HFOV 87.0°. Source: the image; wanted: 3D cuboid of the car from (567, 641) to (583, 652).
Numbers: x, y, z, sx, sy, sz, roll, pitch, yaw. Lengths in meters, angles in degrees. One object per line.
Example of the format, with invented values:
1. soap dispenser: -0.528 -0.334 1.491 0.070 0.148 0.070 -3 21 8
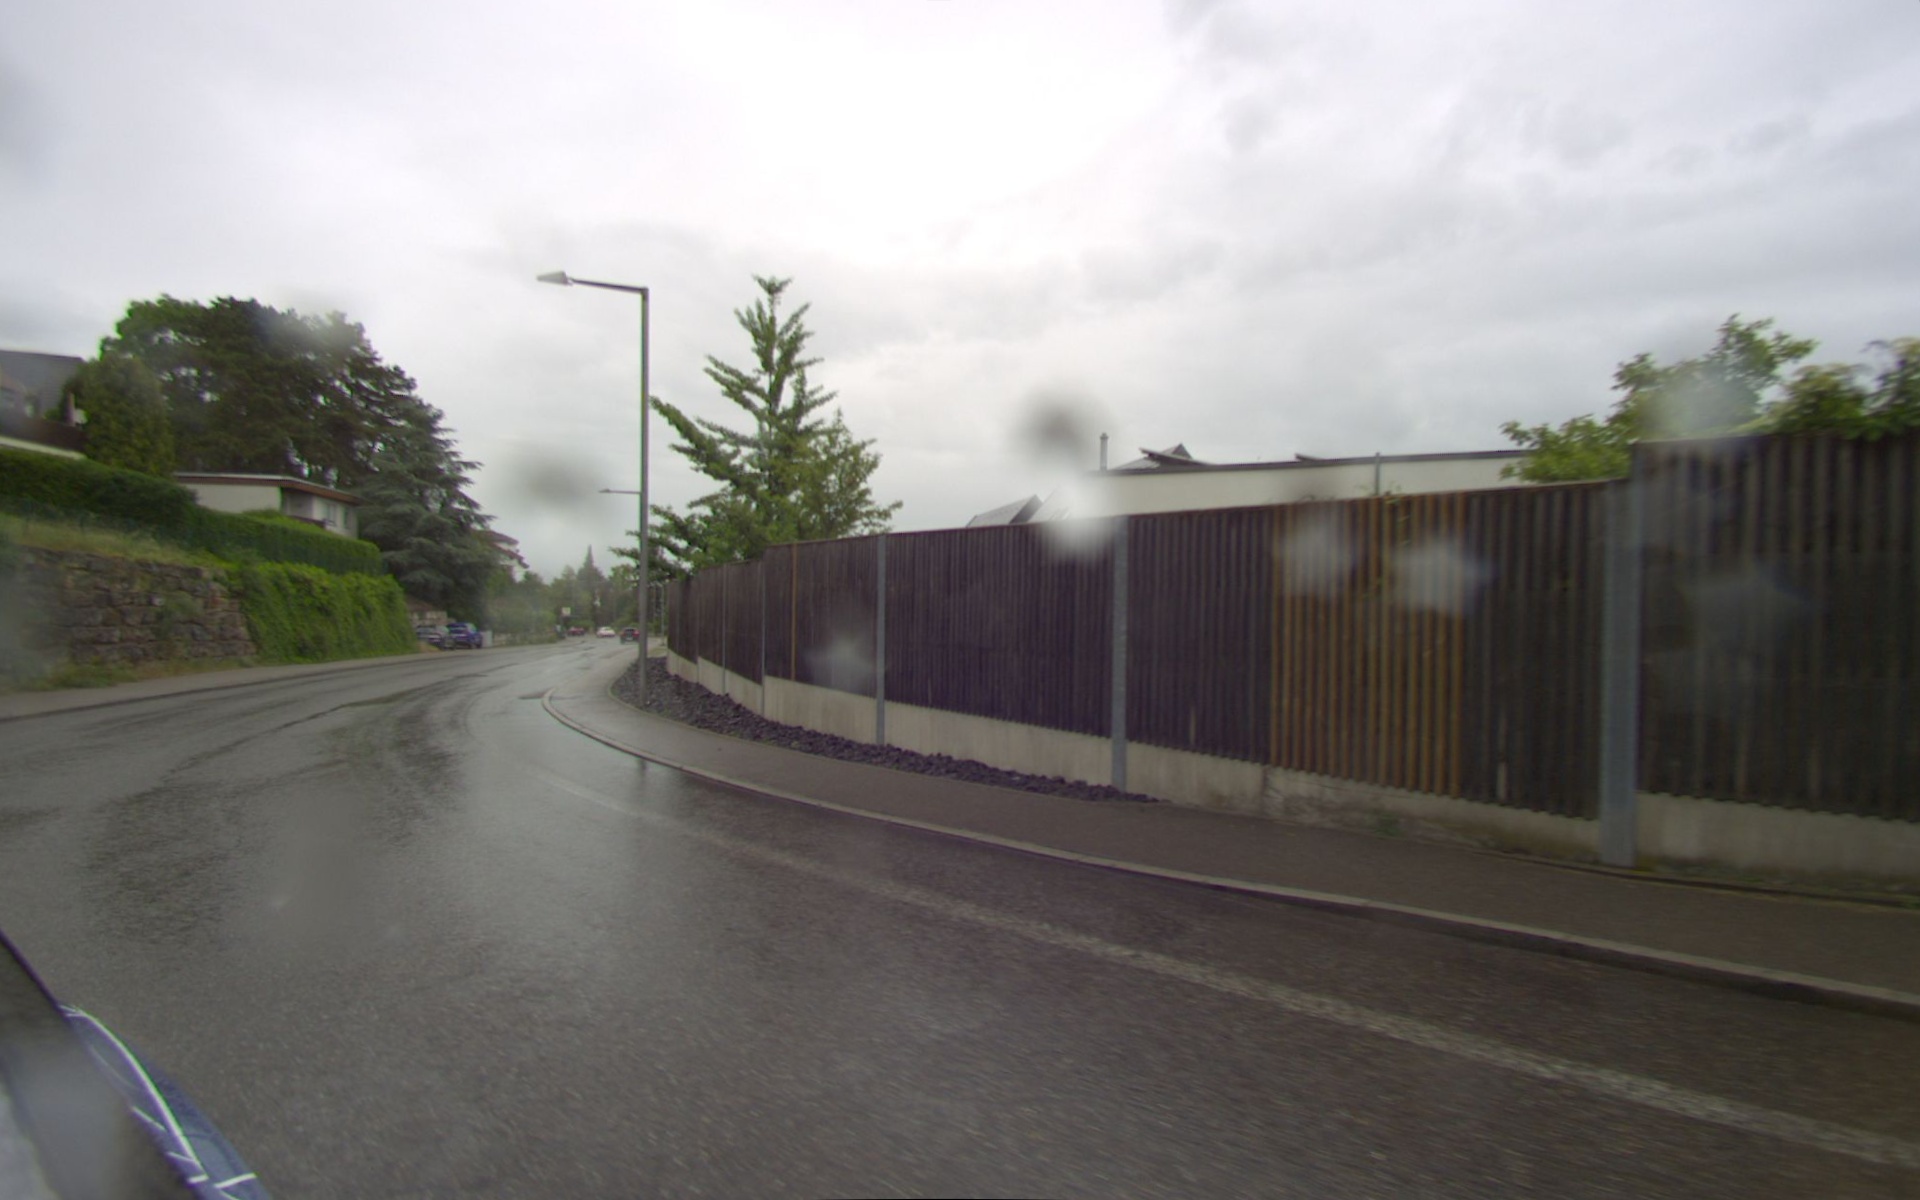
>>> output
1. car: -59.640 7.211 156.671 1.826 1.481 3.709 -1 -1 -14

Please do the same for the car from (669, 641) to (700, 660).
1. car: -25.306 4.599 93.161 1.686 1.565 4.388 -1 -1 0

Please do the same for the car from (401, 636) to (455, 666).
1. car: -30.887 2.924 58.867 1.786 1.575 4.020 3 -2 -13

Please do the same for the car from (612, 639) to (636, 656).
1. car: -30.942 4.353 93.296 1.856 1.460 4.220 0 -2 -15

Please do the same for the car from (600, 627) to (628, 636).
1. car: -56.203 5.094 164.456 3.931 1.281 1.879 -1 -1 -29

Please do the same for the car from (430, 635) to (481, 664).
1. car: -32.278 3.135 64.880 1.966 1.683 4.556 3 -2 -14

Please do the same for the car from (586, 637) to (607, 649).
1. car: -49.412 5.851 137.537 1.822 1.471 4.279 0 -1 -33
